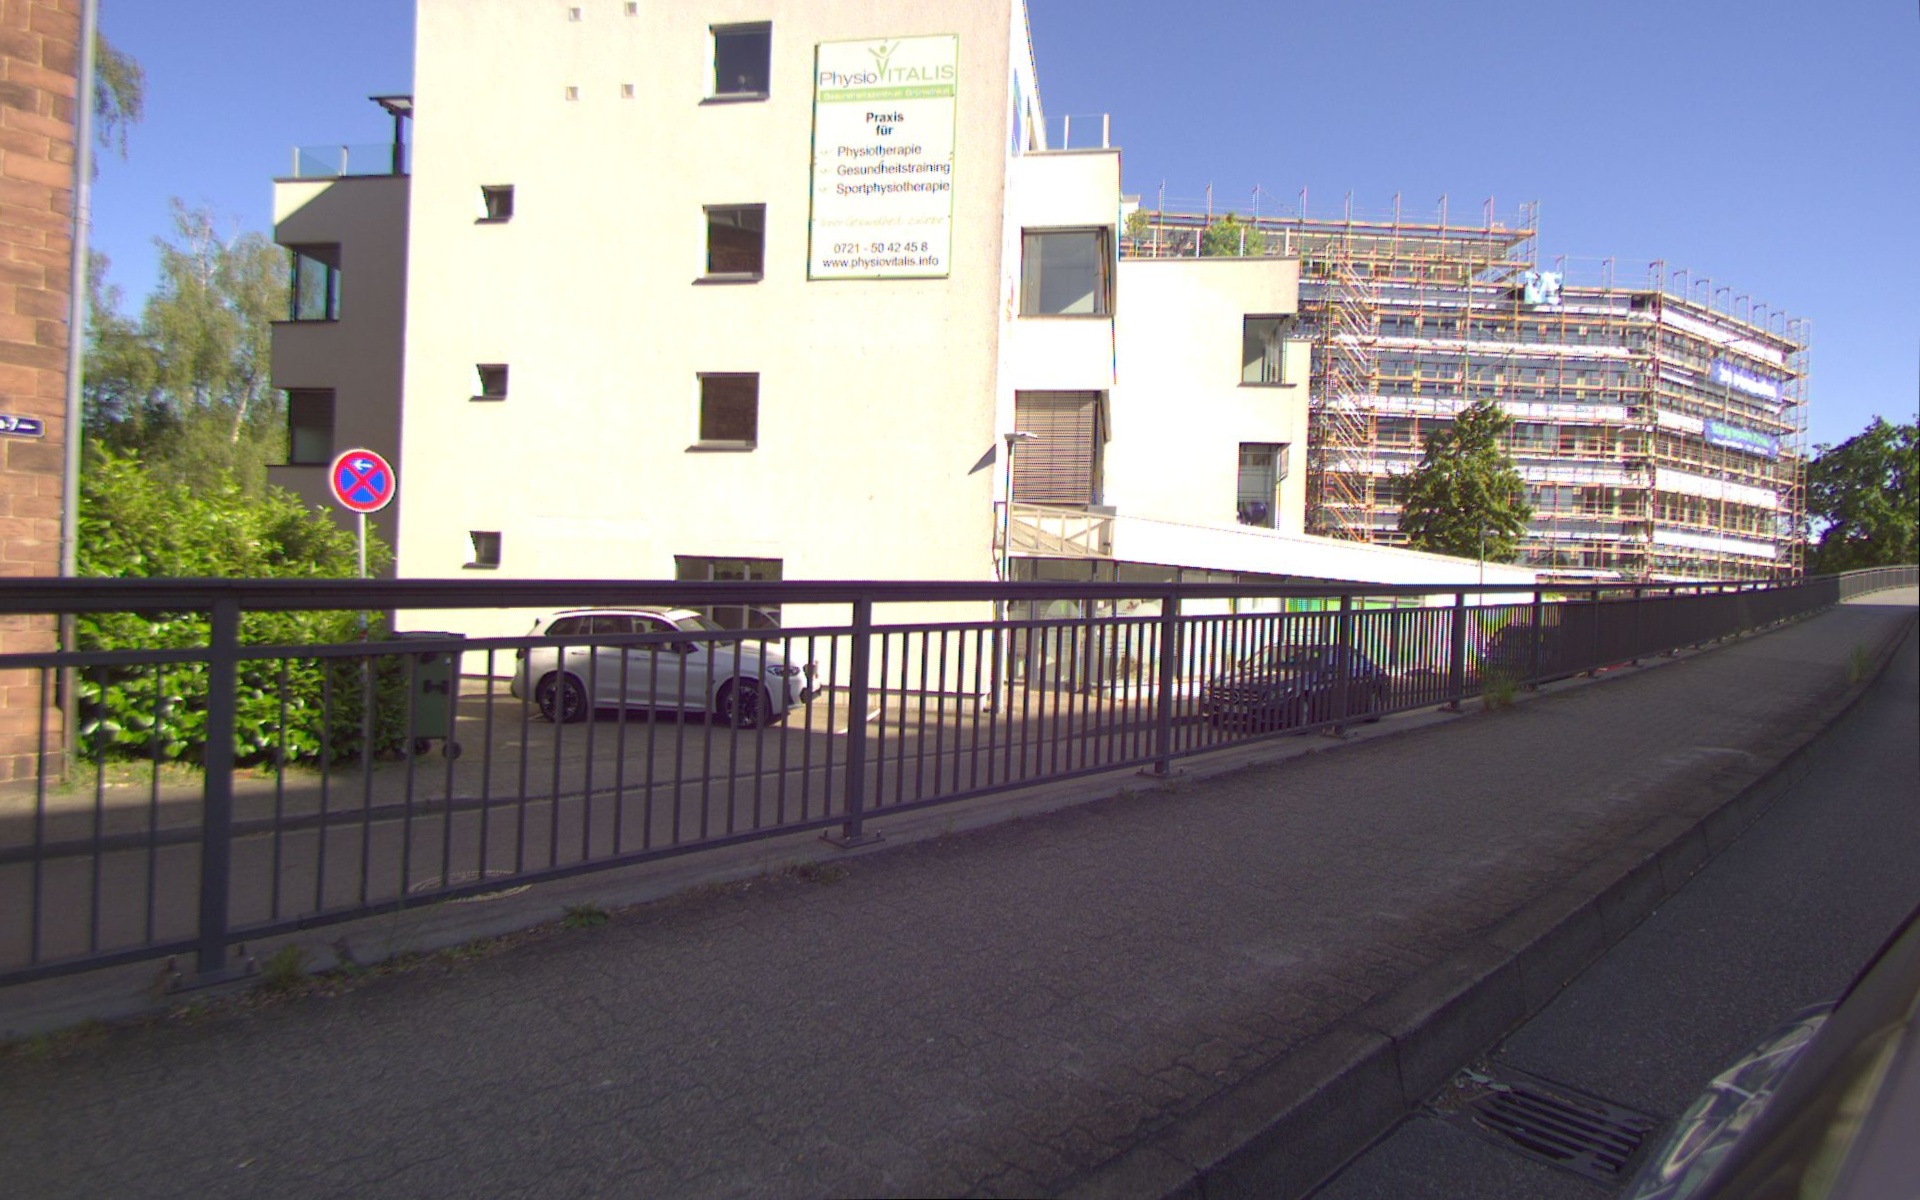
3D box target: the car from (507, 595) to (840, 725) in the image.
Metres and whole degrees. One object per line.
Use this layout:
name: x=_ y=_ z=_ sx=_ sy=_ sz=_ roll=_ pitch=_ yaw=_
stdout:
car: x=-4.279 y=0.839 z=15.451 sx=4.571 sy=1.789 sz=1.824 roll=0 pitch=1 yaw=9

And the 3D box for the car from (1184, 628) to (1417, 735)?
car: x=6.118 y=1.328 z=17.903 sx=4.600 sy=1.448 sz=1.848 roll=-1 pitch=1 yaw=-41

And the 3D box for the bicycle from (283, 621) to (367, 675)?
bicycle: x=-12.982 y=0.952 z=20.761 sx=0.485 sy=0.896 sz=2.053 roll=1 pitch=3 yaw=-2

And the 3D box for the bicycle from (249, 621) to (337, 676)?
bicycle: x=-13.618 y=0.966 z=20.727 sx=0.485 sy=0.896 sz=2.053 roll=1 pitch=3 yaw=-2

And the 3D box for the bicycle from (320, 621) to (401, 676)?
bicycle: x=-12.220 y=0.961 z=20.704 sx=0.485 sy=0.896 sz=2.053 roll=1 pitch=3 yaw=-2

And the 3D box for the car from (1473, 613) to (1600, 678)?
car: x=15.809 y=1.188 z=27.674 sx=3.931 sy=1.554 sz=1.848 roll=1 pitch=1 yaw=-42

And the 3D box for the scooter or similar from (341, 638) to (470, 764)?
scooter or similar: x=-6.010 y=1.048 z=10.950 sx=1.456 sy=1.235 sz=0.773 roll=-1 pitch=-2 yaw=42
